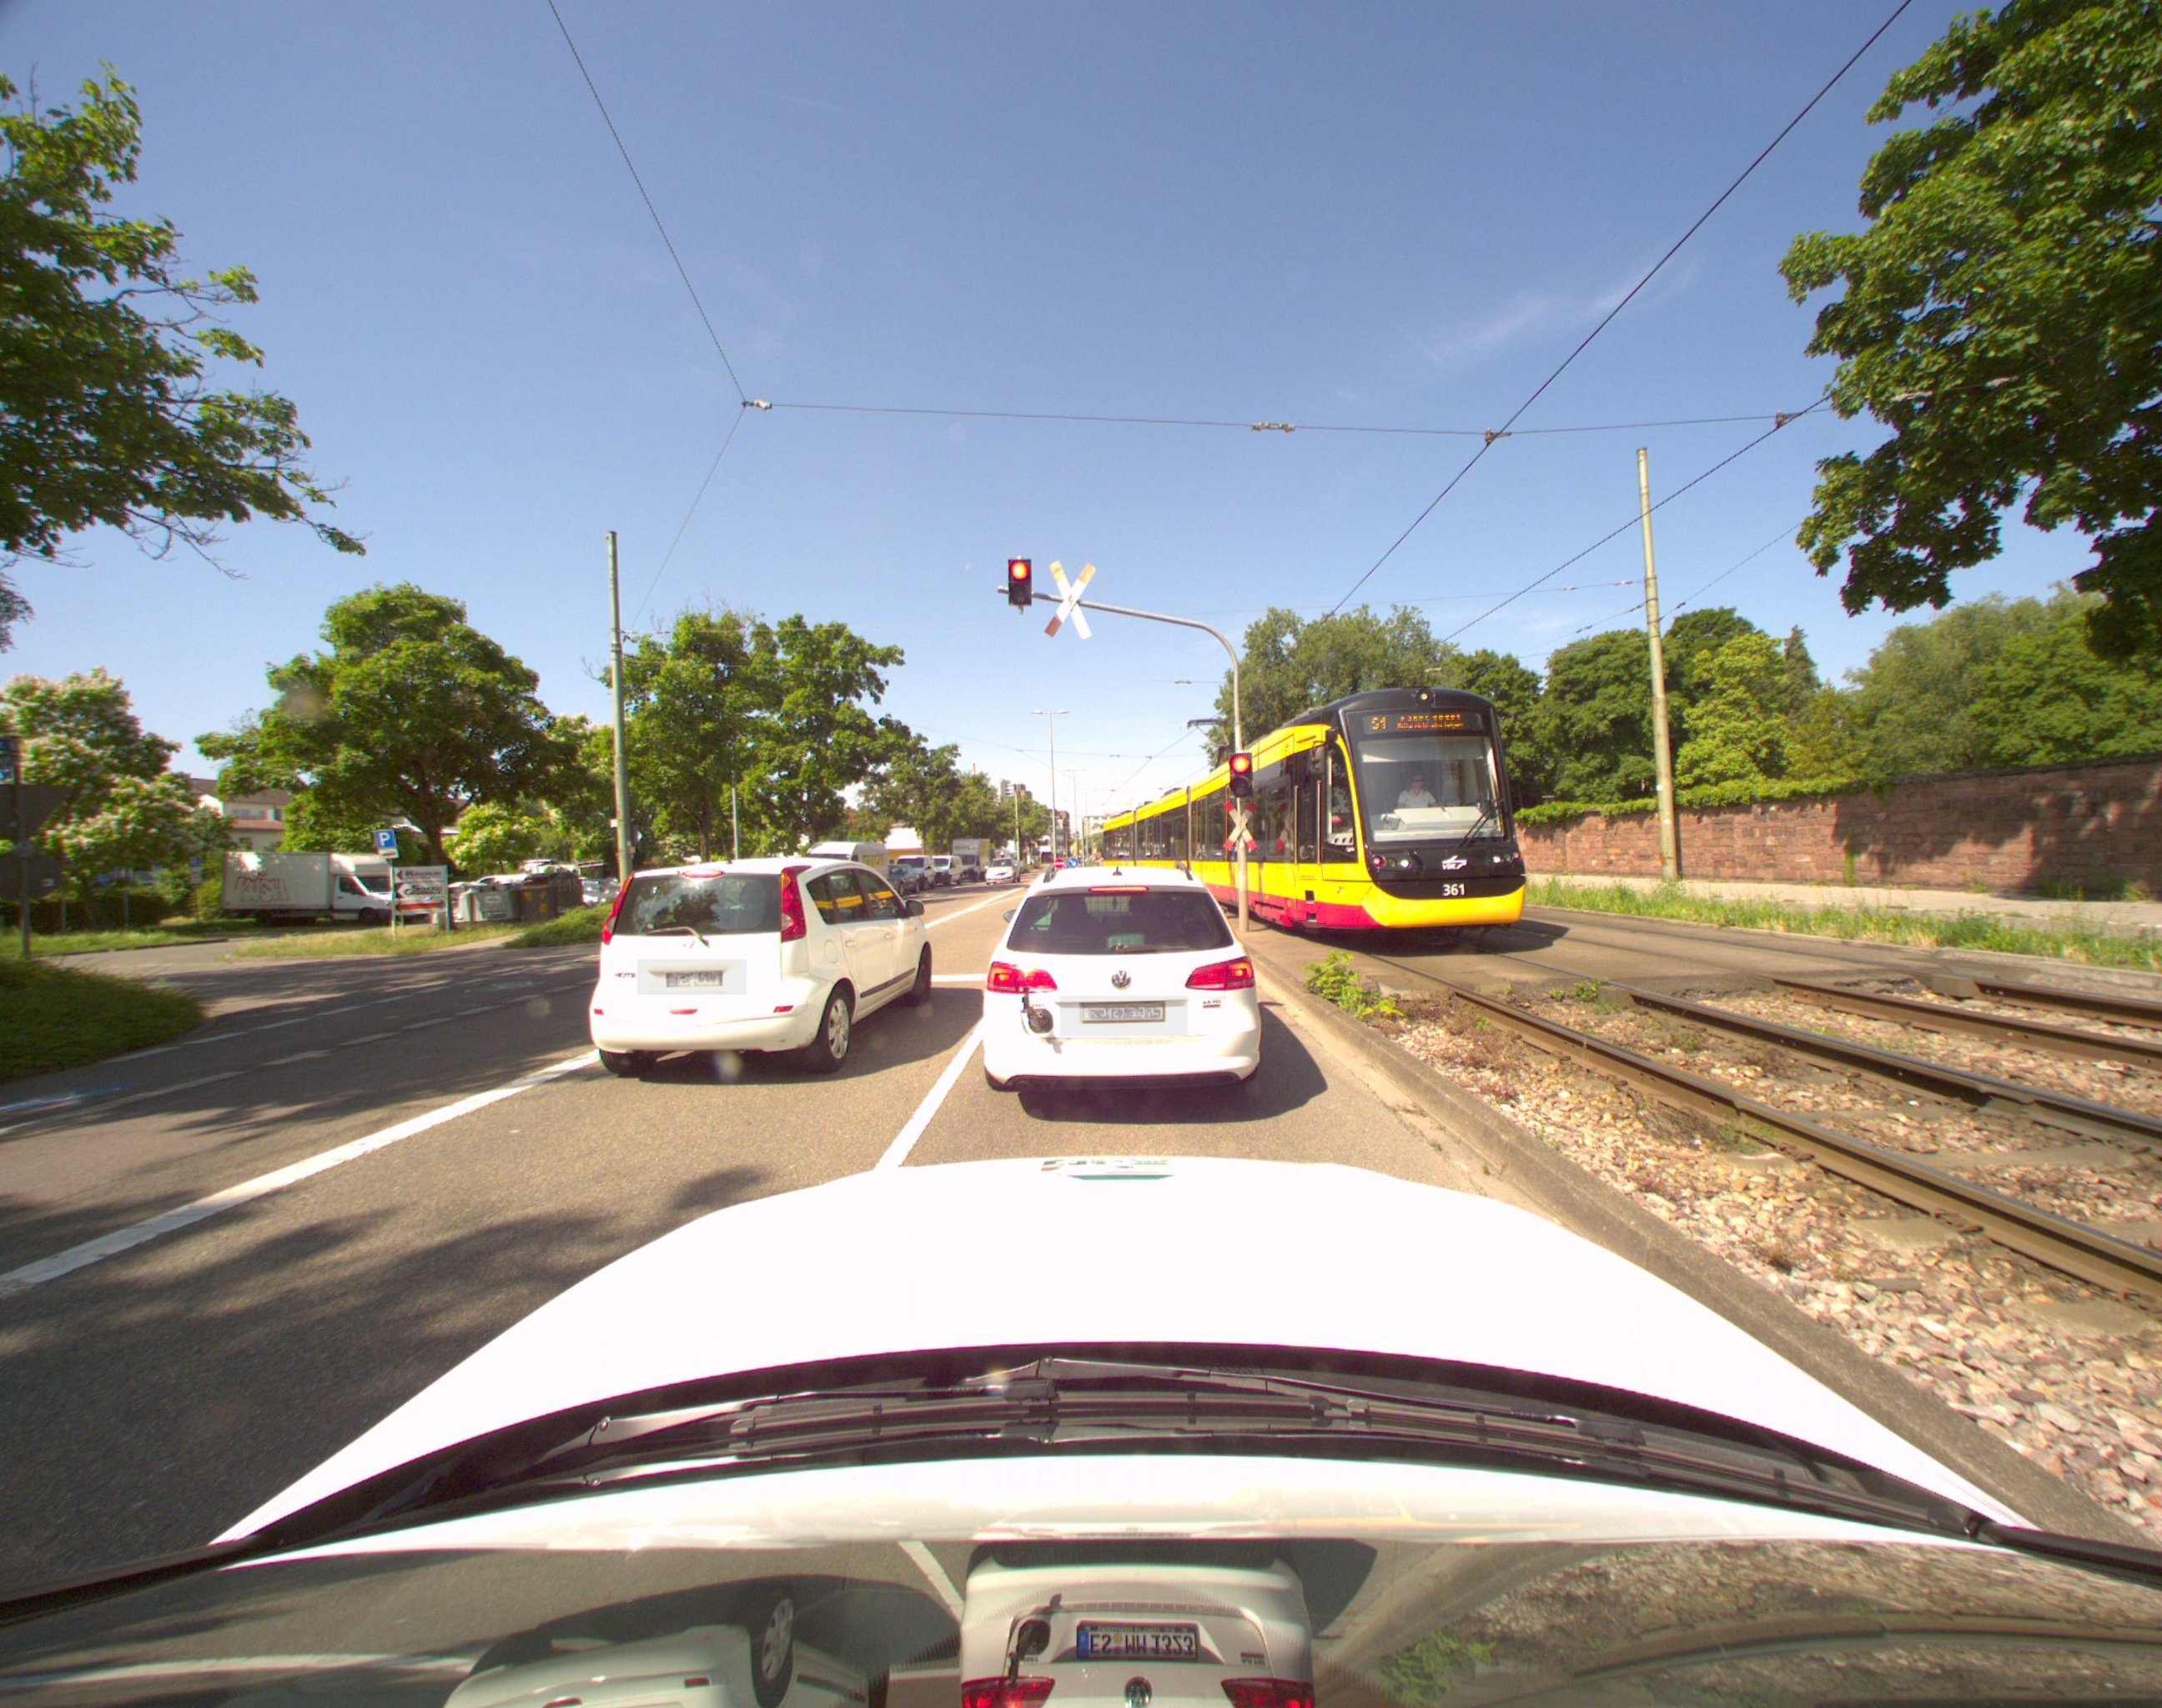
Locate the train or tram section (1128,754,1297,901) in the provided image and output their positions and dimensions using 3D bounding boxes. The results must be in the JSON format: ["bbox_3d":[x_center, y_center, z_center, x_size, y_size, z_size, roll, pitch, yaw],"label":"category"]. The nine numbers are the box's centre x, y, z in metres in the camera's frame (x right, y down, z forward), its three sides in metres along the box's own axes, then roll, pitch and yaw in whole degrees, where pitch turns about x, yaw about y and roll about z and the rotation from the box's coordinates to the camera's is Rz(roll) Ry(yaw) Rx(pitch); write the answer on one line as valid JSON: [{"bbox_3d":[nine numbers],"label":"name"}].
[{"bbox_3d":[3.918,-0.704,28.230,2.865,3.855,12.372,-3,0,-4],"label":"train or tram section"}]

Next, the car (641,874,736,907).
[{"bbox_3d":[-20.288,1.864,42.227,3.977,1.415,1.729,-4,-1,-3],"label":"car"}]

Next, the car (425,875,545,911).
[{"bbox_3d":[-31.768,2.042,43.542,4.780,1.787,2.062,0,-1,-3],"label":"car"}]

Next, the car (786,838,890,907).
[{"bbox_3d":[-9.581,0.683,32.686,2.114,2.516,5.822,0,0,3],"label":"car"}]

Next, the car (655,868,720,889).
[{"bbox_3d":[-35.197,2.187,72.986,4.780,1.787,2.062,0,-1,-3],"label":"car"}]

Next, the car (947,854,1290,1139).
[{"bbox_3d":[0.263,0.756,6.322,1.756,1.430,4.002,-3,0,2],"label":"car"}]

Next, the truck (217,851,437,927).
[{"bbox_3d":[-32.425,1.445,35.220,6.978,3.110,2.677,0,0,0],"label":"truck"}]

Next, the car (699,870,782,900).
[{"bbox_3d":[-19.609,1.762,47.077,3.977,1.415,1.729,-4,-1,-3],"label":"car"}]

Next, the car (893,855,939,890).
[{"bbox_3d":[-9.194,0.986,45.700,1.859,1.868,5.068,0,0,-3],"label":"car"}]

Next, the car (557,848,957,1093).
[{"bbox_3d":[-2.447,0.752,7.530,1.655,1.547,4.550,-1,0,3],"label":"car"}]

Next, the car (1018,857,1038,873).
[{"bbox_3d":[-6.390,1.346,98.951,1.856,1.868,5.415,0,0,1],"label":"car"}]

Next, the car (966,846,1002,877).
[{"bbox_3d":[-8.147,0.610,68.700,2.114,2.516,5.737,0,0,2],"label":"car"}]

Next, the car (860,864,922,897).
[{"bbox_3d":[-9.022,1.218,39.041,1.856,1.415,4.281,0,0,1],"label":"car"}]

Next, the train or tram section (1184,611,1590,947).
[{"bbox_3d":[4.413,-0.895,15.828,2.862,3.855,12.384,-3,0,-1],"label":"train or tram section"}]

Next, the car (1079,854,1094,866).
[{"bbox_3d":[0.796,0.834,112.766,1.698,1.473,4.593,-3,0,3],"label":"car"}]

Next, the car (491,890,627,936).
[{"bbox_3d":[-19.900,2.230,31.180,3.977,1.415,1.729,-4,-1,-3],"label":"car"}]

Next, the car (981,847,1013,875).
[{"bbox_3d":[-7.770,0.669,76.132,2.114,2.516,5.737,0,0,2],"label":"car"}]

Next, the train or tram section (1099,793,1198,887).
[{"bbox_3d":[2.980,-0.568,39.686,2.866,3.855,10.518,-3,0,-5],"label":"train or tram section"}]

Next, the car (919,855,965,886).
[{"bbox_3d":[-8.870,1.006,52.281,1.856,1.868,5.415,0,0,1],"label":"car"}]

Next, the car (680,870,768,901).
[{"bbox_3d":[-19.537,1.716,44.706,3.977,1.415,1.729,-4,-1,-3],"label":"car"}]

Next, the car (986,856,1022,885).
[{"bbox_3d":[-4.632,0.970,49.709,1.670,1.553,3.580,-4,0,1],"label":"car"}]

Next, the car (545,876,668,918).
[{"bbox_3d":[-19.668,1.765,33.873,3.977,1.415,1.729,-4,-1,-3],"label":"car"}]

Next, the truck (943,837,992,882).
[{"bbox_3d":[-8.366,0.406,60.701,2.411,3.150,7.001,0,0,2],"label":"truck"}]

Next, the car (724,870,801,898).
[{"bbox_3d":[-19.462,1.815,49.893,3.977,1.415,1.729,-4,-1,-3],"label":"car"}]

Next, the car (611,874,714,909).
[{"bbox_3d":[-20.296,1.800,39.616,3.977,1.415,1.729,-4,-1,-3],"label":"car"}]

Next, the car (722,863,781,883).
[{"bbox_3d":[-31.468,1.809,77.877,4.780,1.787,2.062,0,-1,-3],"label":"car"}]

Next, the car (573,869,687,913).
[{"bbox_3d":[-19.917,1.624,36.080,3.977,1.610,1.729,-4,-1,-3],"label":"car"}]
